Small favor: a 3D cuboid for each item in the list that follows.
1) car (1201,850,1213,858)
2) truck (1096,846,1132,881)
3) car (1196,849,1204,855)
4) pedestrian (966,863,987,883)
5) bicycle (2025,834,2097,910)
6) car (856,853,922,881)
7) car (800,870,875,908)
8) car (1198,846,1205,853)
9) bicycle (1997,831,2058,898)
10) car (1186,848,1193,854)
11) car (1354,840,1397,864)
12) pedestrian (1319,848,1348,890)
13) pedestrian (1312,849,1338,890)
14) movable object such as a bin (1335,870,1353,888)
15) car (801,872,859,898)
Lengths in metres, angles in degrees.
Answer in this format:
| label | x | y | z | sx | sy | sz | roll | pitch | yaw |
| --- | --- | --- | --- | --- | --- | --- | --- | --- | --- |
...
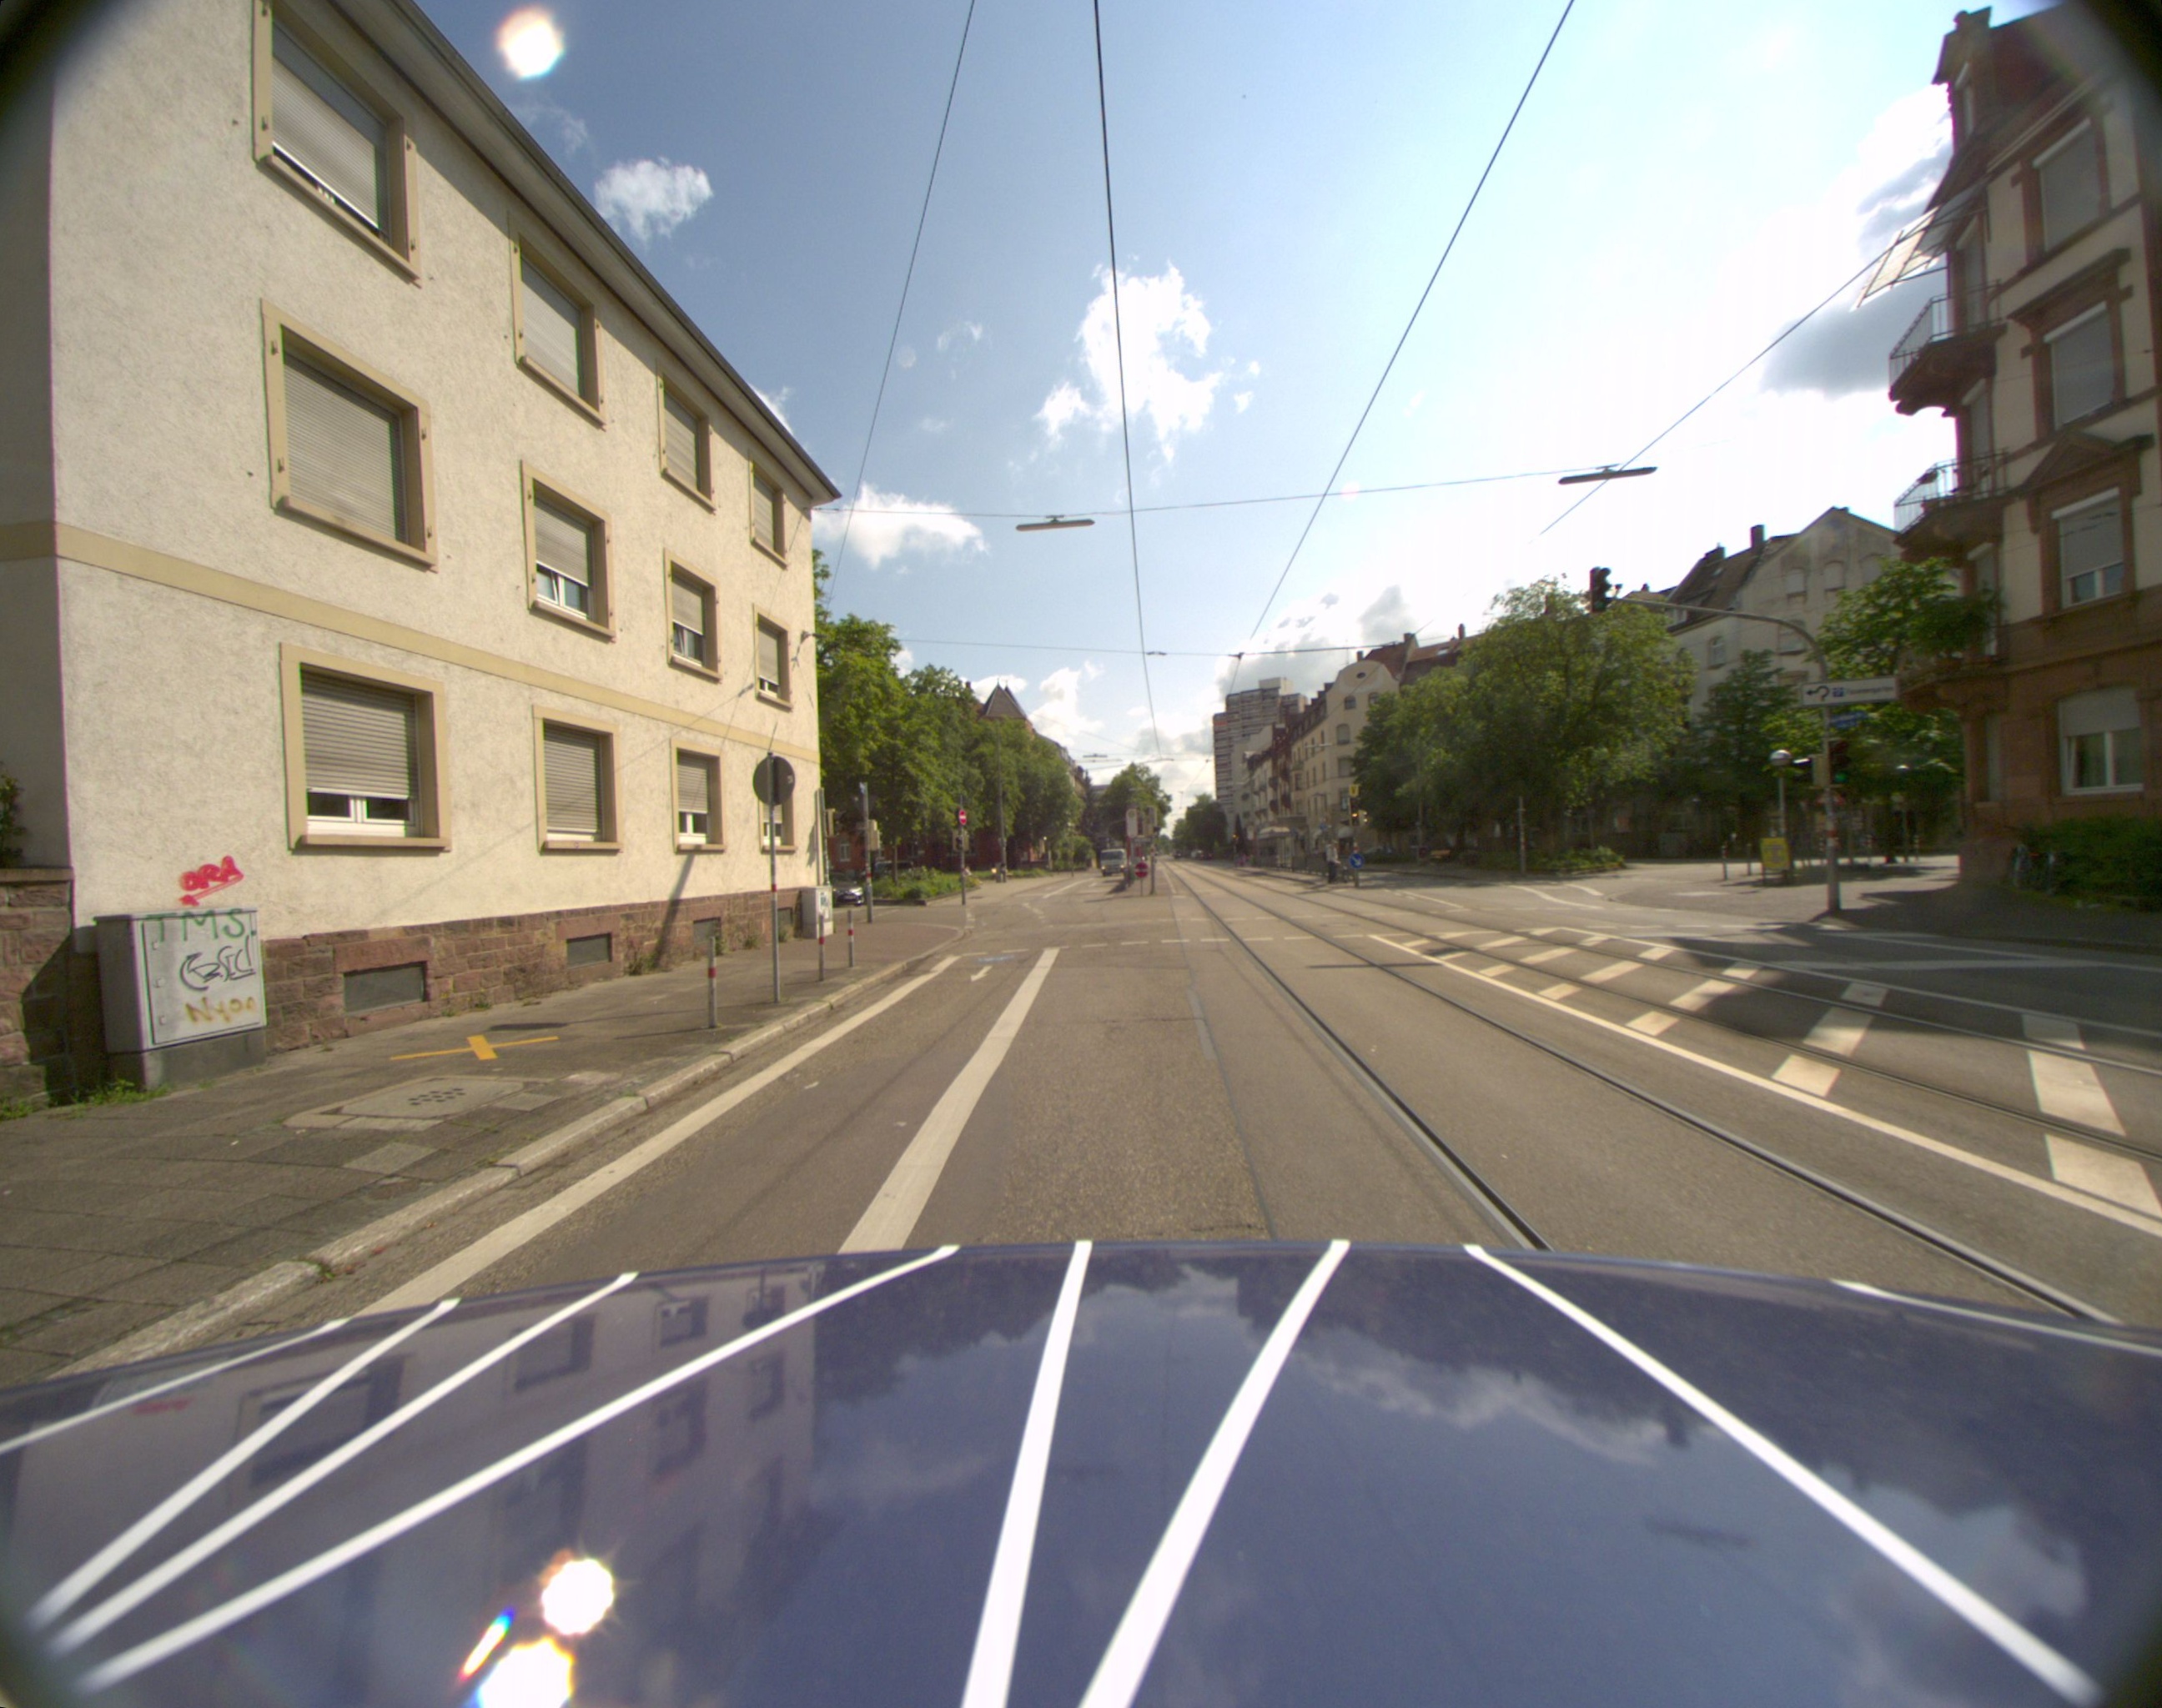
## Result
| label | x | y | z | sx | sy | sz | roll | pitch | yaw |
| --- | --- | --- | --- | --- | --- | --- | --- | --- | --- |
| car | 24.329 | -0.042 | 146.622 | 1.840 | 1.482 | 3.893 | -3 | 0 | 5 |
| truck | 2.882 | 0.762 | 64.949 | 2.530 | 2.721 | 6.518 | -3 | 0 | 6 |
| car | 31.625 | -0.543 | 202.257 | 1.840 | 1.482 | 3.893 | -3 | 0 | 5 |
| pedestrian | -6.406 | 1.135 | 46.587 | 1.160 | 1.195 | 0.907 | 1 | 0 | -2 |
| bicycle | 17.014 | 0.279 | 13.228 | 0.481 | 1.217 | 1.958 | -2 | 0 | 44 |
| car | -15.292 | 0.997 | 60.831 | 2.278 | 2.002 | 5.297 | -3 | 0 | 24 |
| car | -10.500 | 1.480 | 32.593 | 1.633 | 1.482 | 3.721 | -1 | -2 | -42 |
| car | 36.463 | -1.394 | 230.664 | 1.840 | 2.179 | 3.893 | -3 | 0 | 5 |
| bicycle | 18.513 | 0.186 | 14.887 | 0.481 | 1.217 | 1.958 | -2 | 0 | 44 |
| car | 34.985 | -0.996 | 244.465 | 1.840 | 1.799 | 3.893 | -3 | 0 | 5 |
| car | 26.907 | -0.200 | 69.463 | 3.420 | 1.841 | 1.615 | -5 | 0 | 25 |
| pedestrian | 9.869 | 0.575 | 29.680 | 0.782 | 1.565 | 0.693 | -3 | 0 | -8 |
| pedestrian | 9.764 | 0.613 | 30.414 | 0.716 | 1.565 | 0.585 | -3 | 0 | -8 |
| movable object such as a bin | 10.487 | 0.993 | 30.333 | 0.512 | 0.713 | 0.457 | -3 | 0 | -8 |
| car | -24.665 | 3.046 | 74.671 | 5.221 | 2.255 | 2.288 | -3 | 0 | 25 |
